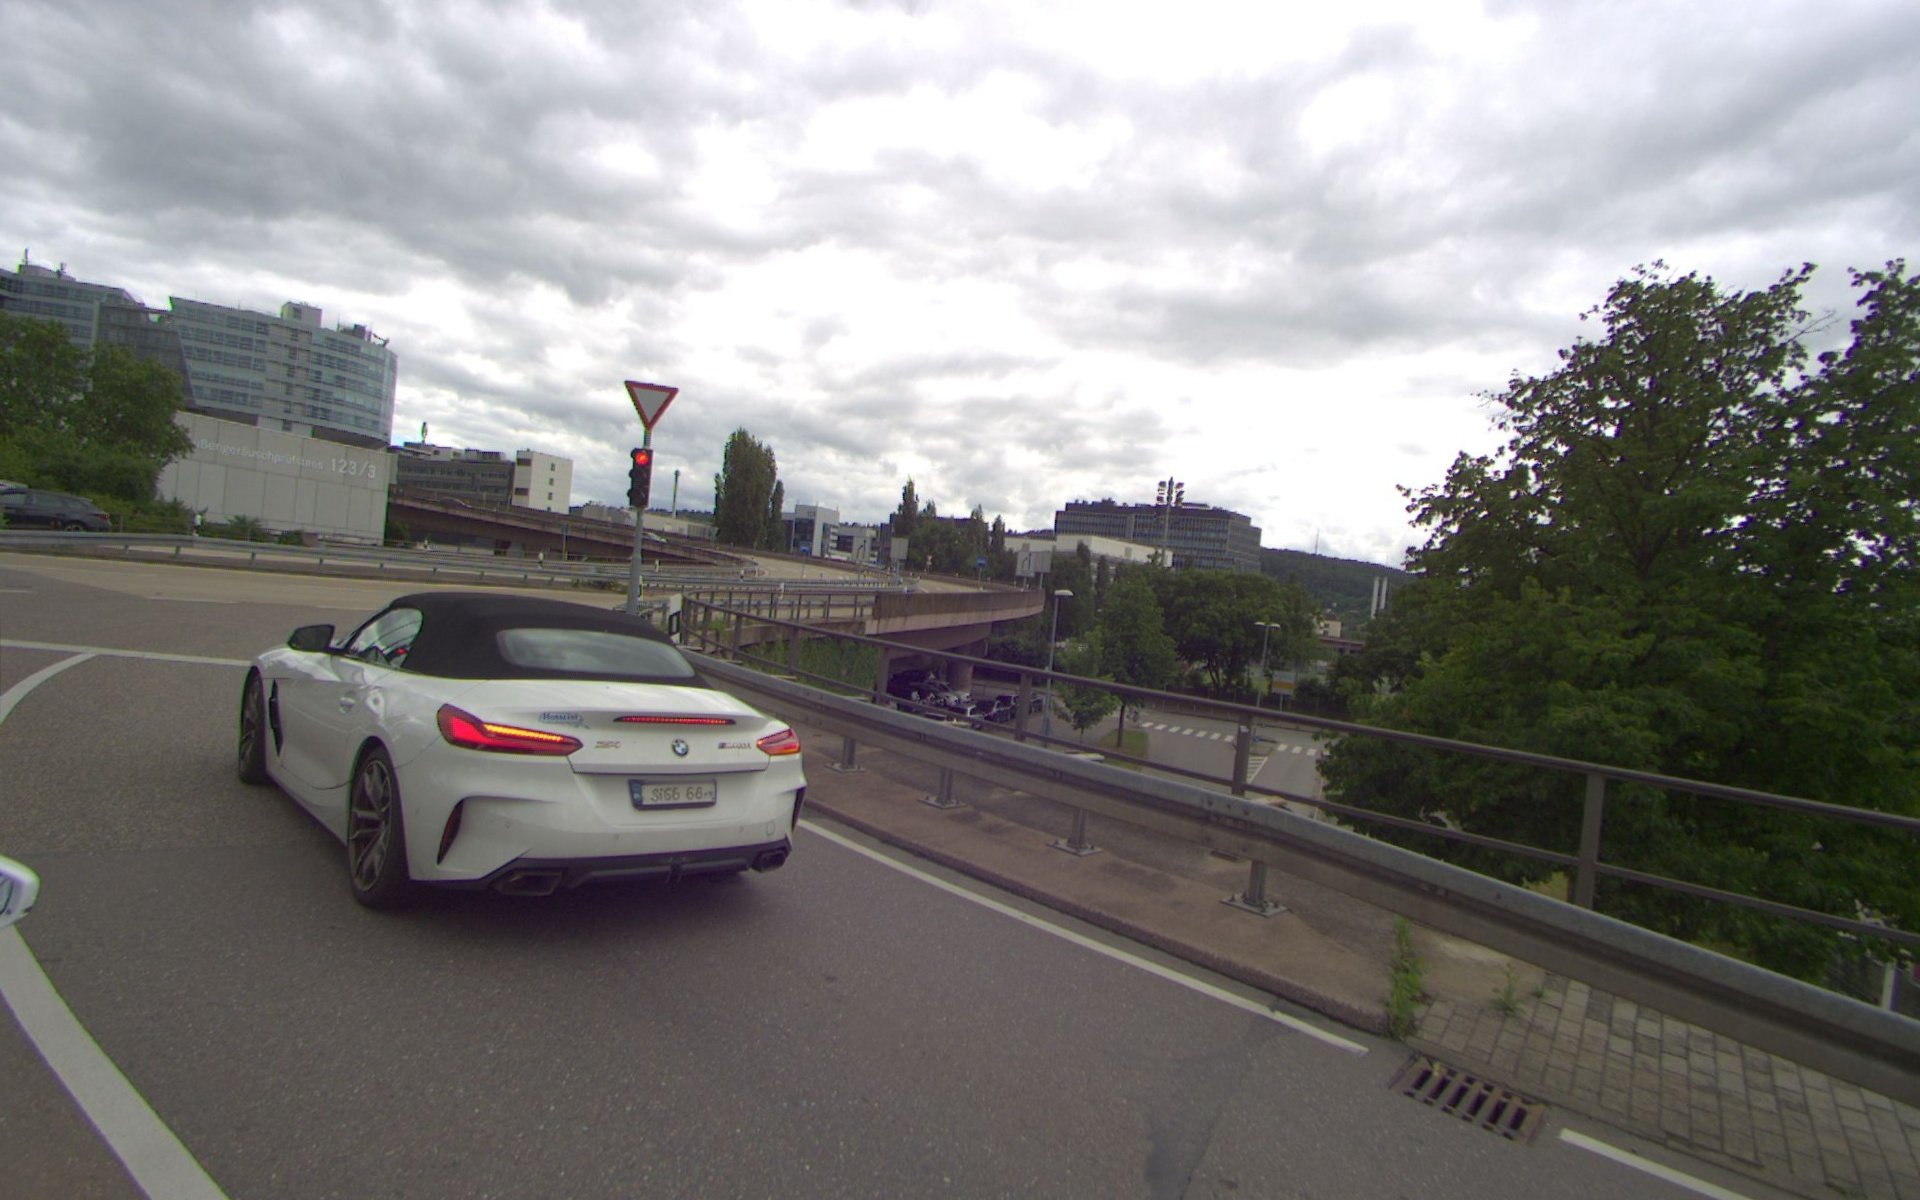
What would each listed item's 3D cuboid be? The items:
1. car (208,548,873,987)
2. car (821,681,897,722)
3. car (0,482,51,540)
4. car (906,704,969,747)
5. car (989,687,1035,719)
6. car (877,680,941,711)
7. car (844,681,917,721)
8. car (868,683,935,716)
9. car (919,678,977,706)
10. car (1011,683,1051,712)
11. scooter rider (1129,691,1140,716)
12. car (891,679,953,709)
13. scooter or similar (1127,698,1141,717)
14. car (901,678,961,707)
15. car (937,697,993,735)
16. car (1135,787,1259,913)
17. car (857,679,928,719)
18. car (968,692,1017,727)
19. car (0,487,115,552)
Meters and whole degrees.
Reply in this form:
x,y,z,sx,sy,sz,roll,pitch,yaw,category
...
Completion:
x,y,z,sx,sy,sz,roll,pitch,yaw,category
-2.590,0.601,5.553,4.208,1.306,1.802,7,-2,45,car
-5.736,5.770,57.343,3.790,1.658,1.827,8,1,14,car
-30.337,-2.941,29.722,1.921,1.590,4.691,8,0,26,car
-1.084,6.341,51.029,1.793,1.553,3.999,8,1,18,car
3.469,6.713,65.786,1.793,1.553,4.194,8,1,18,car
-3.379,6.309,66.757,3.790,1.372,1.827,8,1,14,car
-4.729,5.975,59.840,3.790,1.637,1.827,8,1,14,car
-3.740,6.348,64.316,3.790,1.372,1.827,8,1,14,car
-0.847,6.701,73.598,3.790,1.372,1.827,8,1,14,car
5.090,6.947,71.709,1.793,1.553,3.999,8,1,18,car
13.324,7.916,76.836,0.483,1.776,0.546,7,2,-14,scooter rider
-2.602,6.412,68.978,3.790,1.372,1.827,8,1,14,car
13.280,8.216,76.870,0.483,1.199,1.069,7,2,-14,scooter or similar
-2.032,6.520,71.020,3.790,1.372,1.827,8,1,14,car
0.338,6.414,56.107,1.793,1.553,3.999,8,1,18,car
7.166,7.269,29.957,1.980,2.618,5.390,10,-1,28,car
-4.148,6.089,61.996,3.790,1.783,1.827,8,1,14,car
2.005,6.611,60.955,1.793,1.553,3.999,8,1,18,car
-26.806,-2.413,27.952,1.920,1.475,4.619,8,0,24,car
